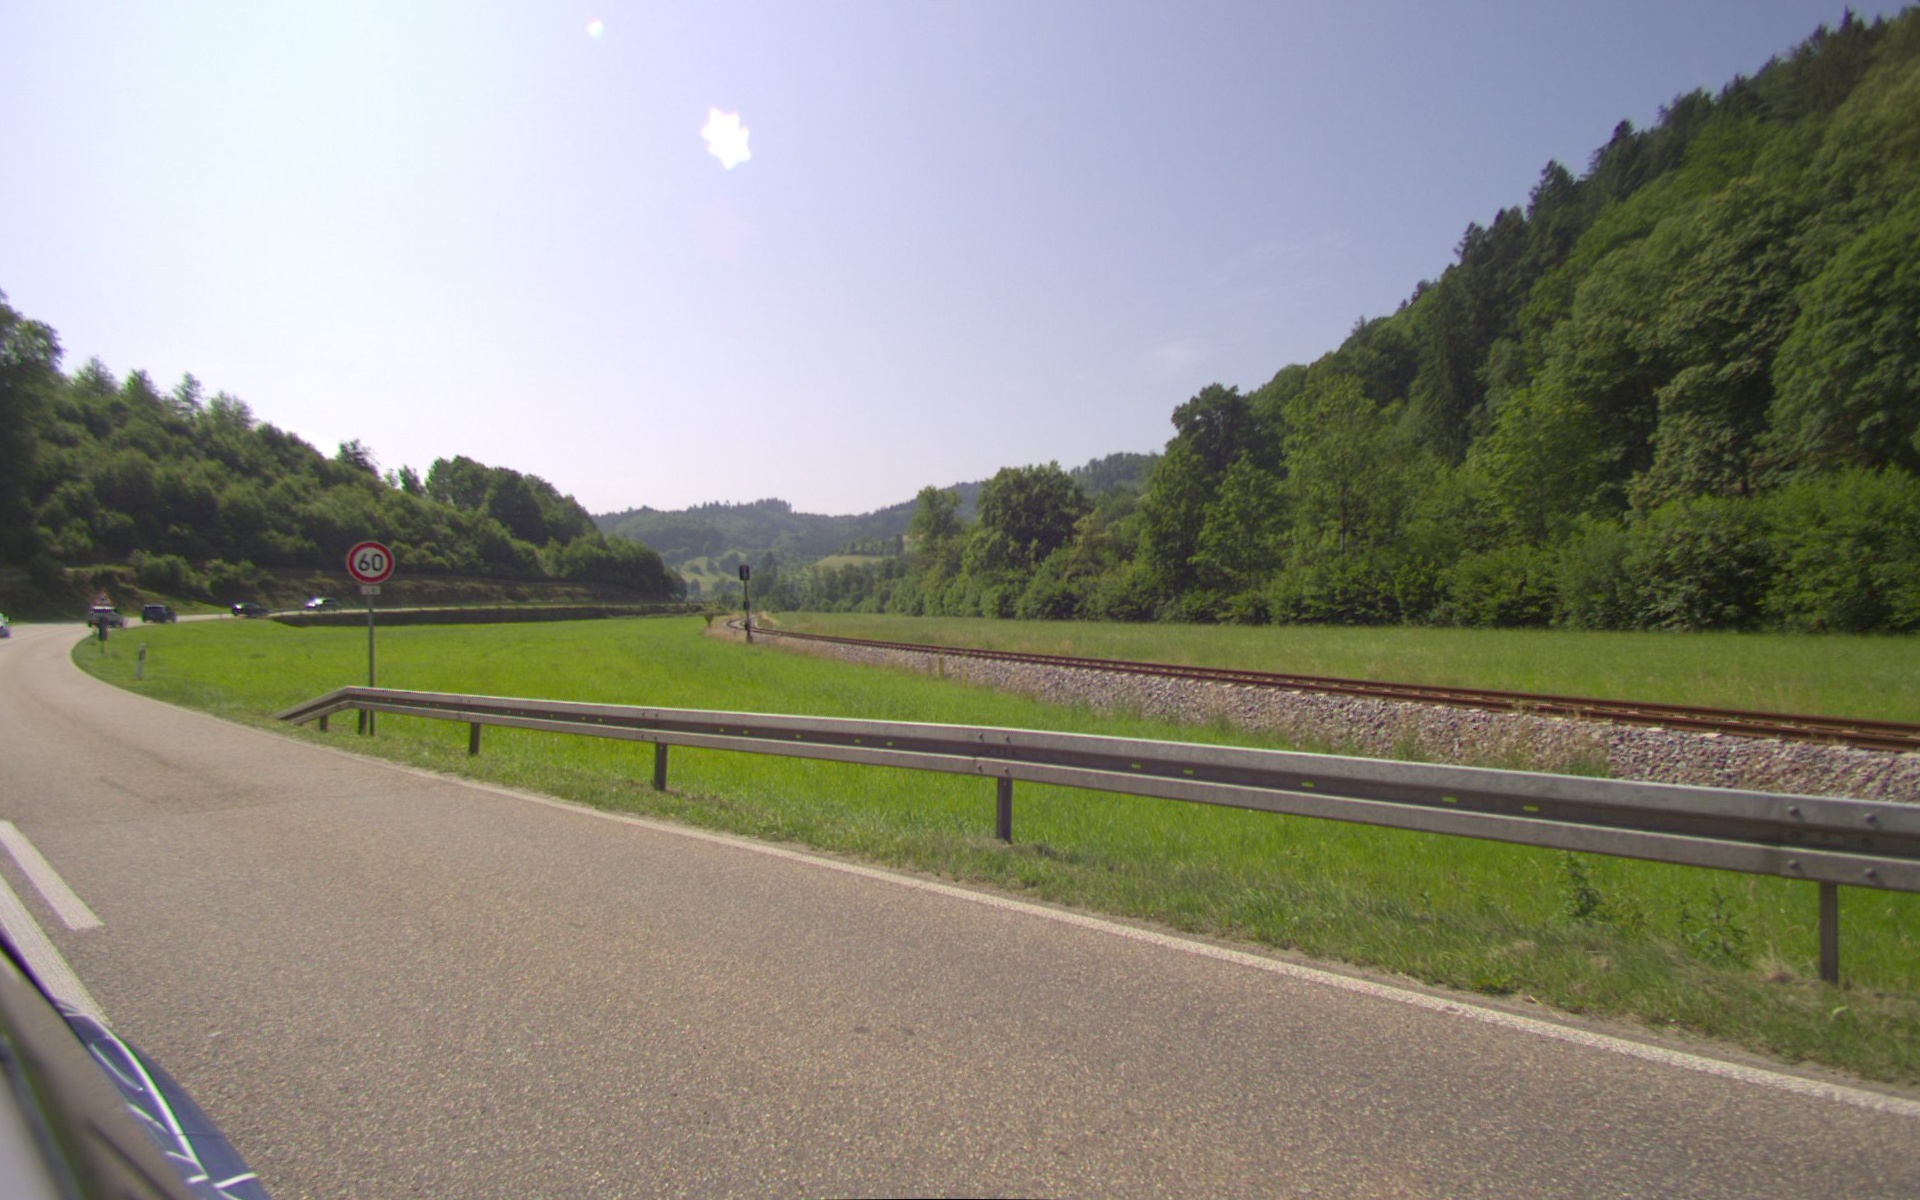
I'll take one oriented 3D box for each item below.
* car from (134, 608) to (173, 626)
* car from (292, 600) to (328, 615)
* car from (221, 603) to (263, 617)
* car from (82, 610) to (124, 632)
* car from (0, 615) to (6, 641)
[{"bbox_3d":[-77.742,1.667,97.614,1.839,1.636,4.525,-3,0,-25],"label":"car"},{"bbox_3d":[-87.275,1.040,135.984,1.976,2.029,3.991,0,-1,7],"label":"car"},{"bbox_3d":[-84.120,1.131,118.657,1.893,1.481,4.515,-2,0,-5],"label":"car"},{"bbox_3d":[-71.191,1.765,84.165,1.888,1.727,4.172,1,-2,-30],"label":"car"},{"bbox_3d":[-58.593,1.688,60.490,2.115,1.502,4.678,1,-2,-42],"label":"car"}]
